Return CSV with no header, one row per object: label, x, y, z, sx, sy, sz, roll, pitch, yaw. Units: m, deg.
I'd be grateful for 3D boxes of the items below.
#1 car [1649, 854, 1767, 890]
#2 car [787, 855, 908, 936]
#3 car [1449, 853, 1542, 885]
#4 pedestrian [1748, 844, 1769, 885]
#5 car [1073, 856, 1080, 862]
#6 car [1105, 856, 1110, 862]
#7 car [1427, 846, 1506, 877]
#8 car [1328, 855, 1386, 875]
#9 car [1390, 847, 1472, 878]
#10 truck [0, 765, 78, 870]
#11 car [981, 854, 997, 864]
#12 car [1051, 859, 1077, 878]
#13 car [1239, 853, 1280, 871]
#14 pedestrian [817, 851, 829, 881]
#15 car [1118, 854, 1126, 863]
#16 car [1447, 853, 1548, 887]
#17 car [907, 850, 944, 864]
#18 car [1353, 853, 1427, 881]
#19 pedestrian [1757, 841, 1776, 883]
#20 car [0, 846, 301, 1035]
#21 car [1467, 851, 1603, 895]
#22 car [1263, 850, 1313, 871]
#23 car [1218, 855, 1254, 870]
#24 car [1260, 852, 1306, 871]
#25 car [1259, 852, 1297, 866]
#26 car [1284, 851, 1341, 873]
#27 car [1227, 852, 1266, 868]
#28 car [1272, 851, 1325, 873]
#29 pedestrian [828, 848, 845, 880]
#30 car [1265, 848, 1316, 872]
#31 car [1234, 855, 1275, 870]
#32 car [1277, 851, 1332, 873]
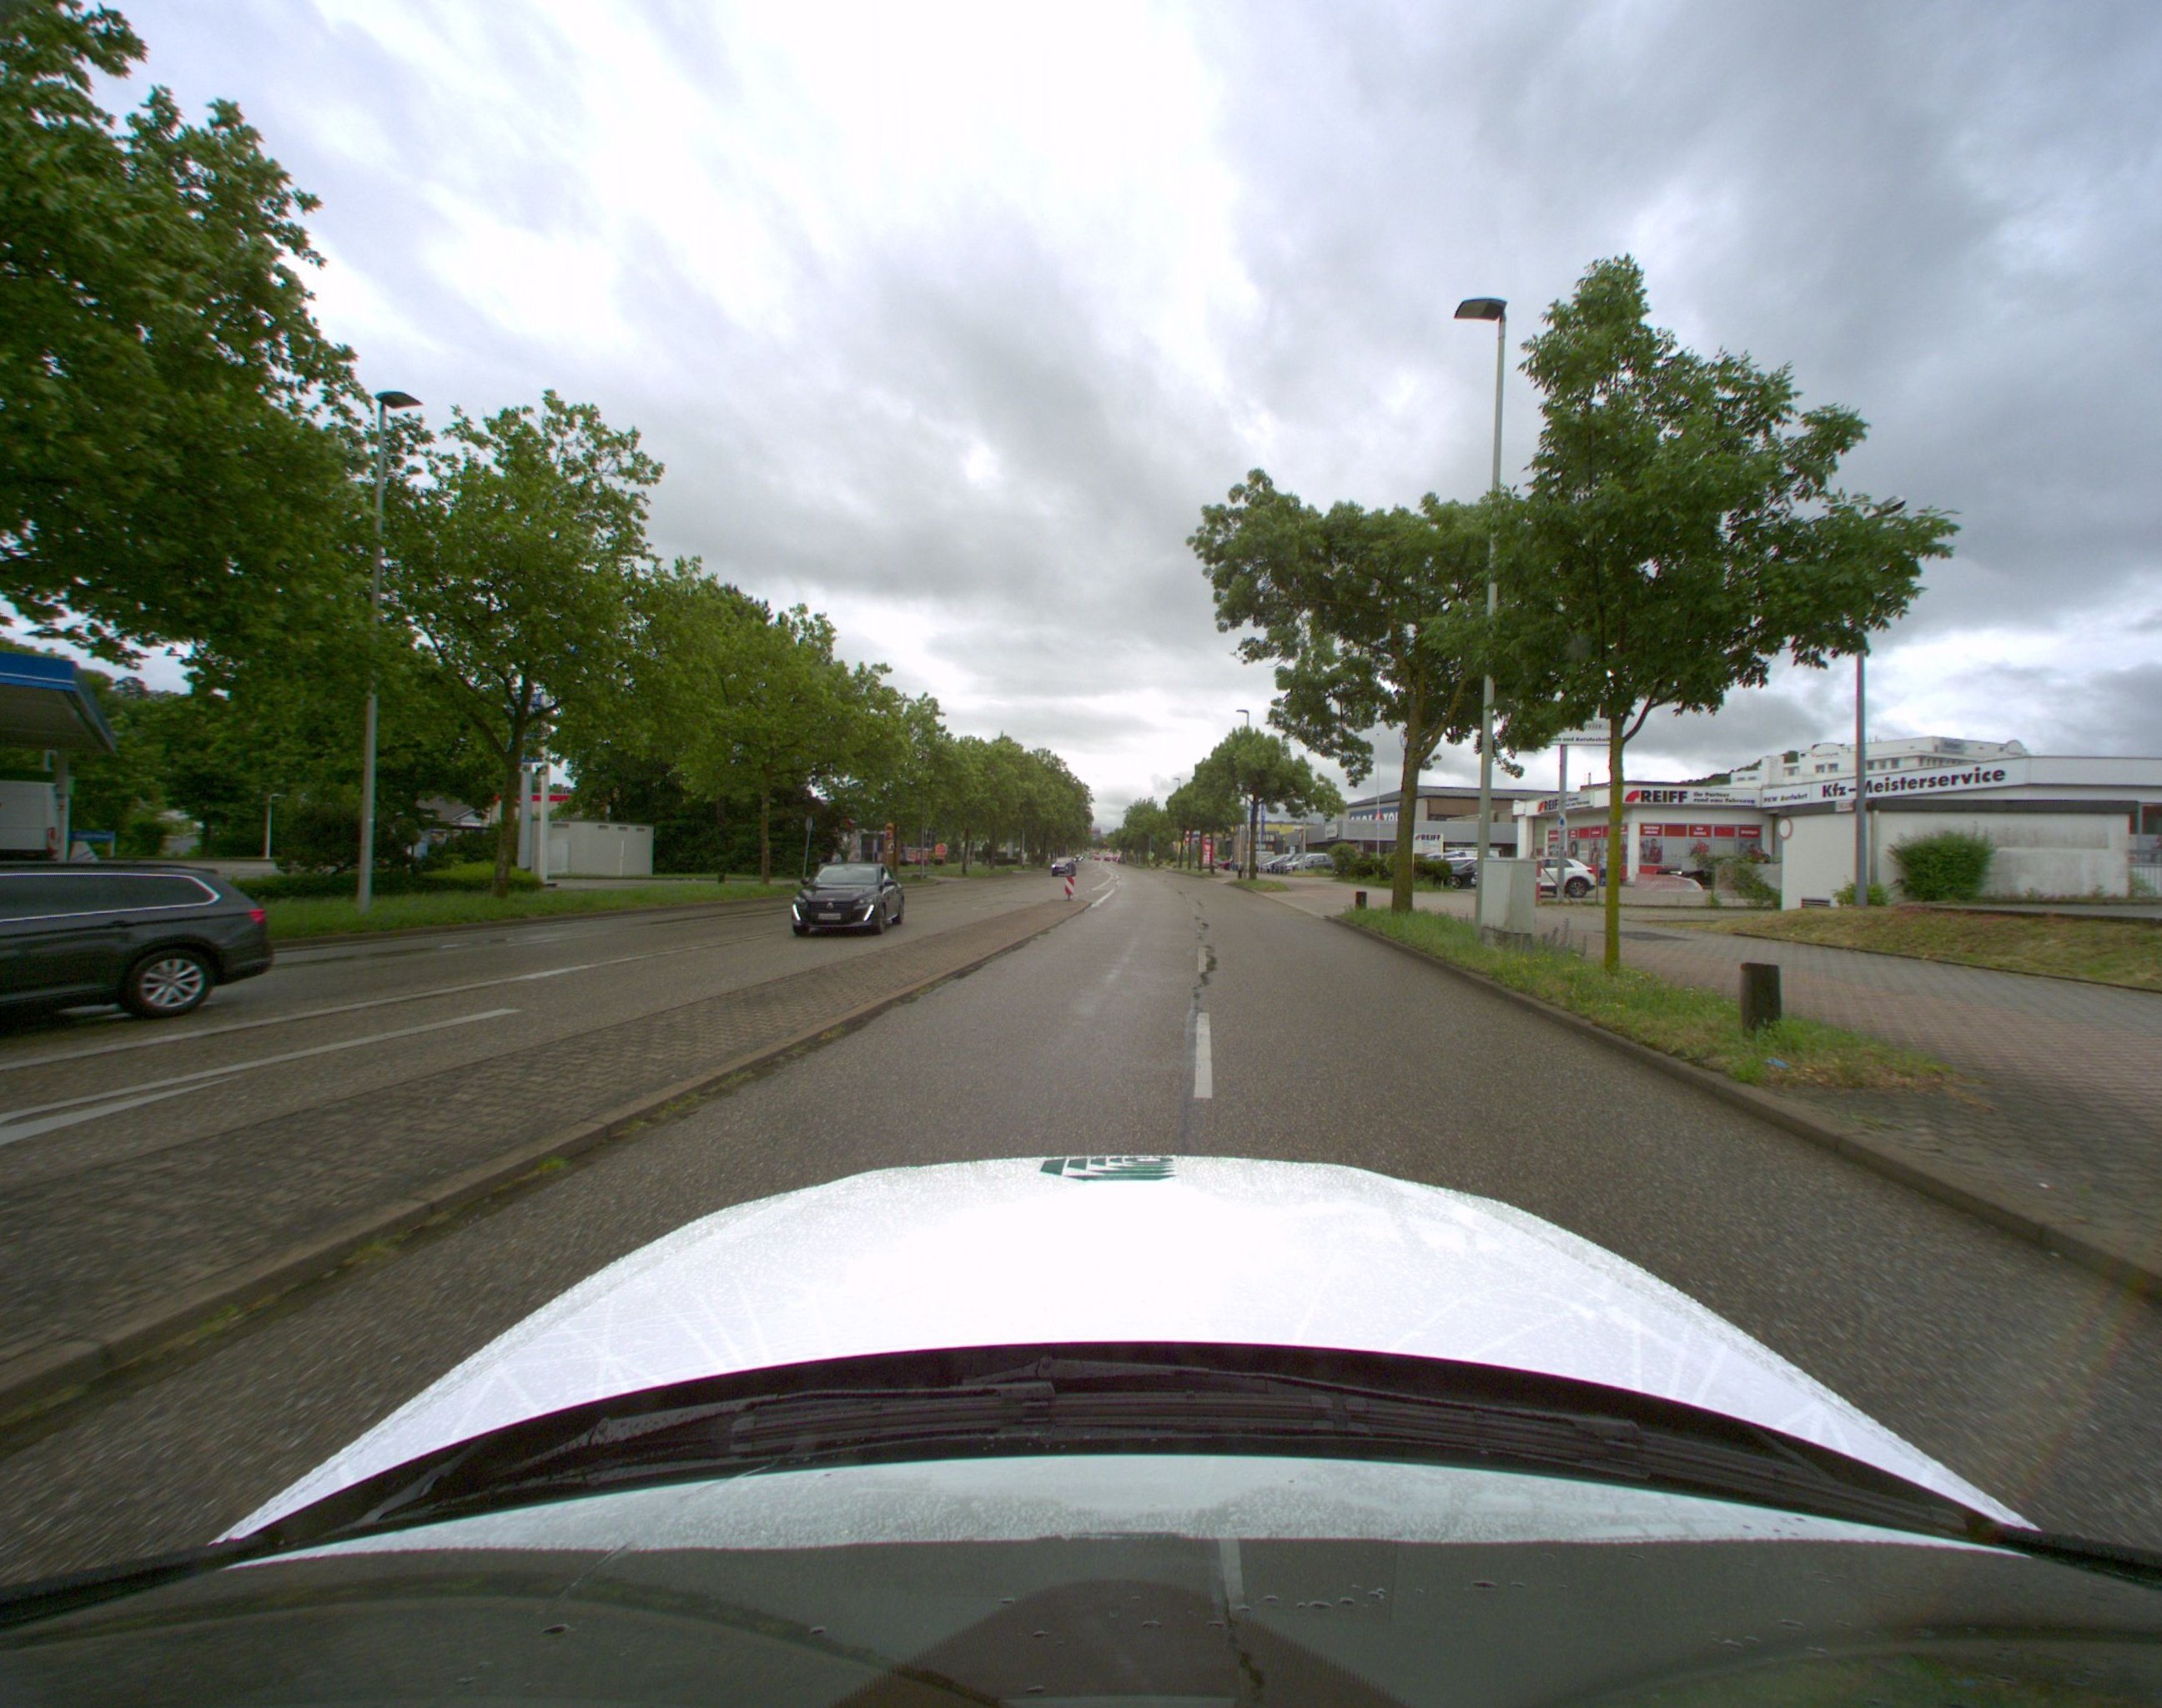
car,27.683,0.780,36.043,3.830,1.479,1.789,1,-1,3
car,-4.781,0.781,17.208,1.639,1.508,3.888,0,0,-3
car,20.579,0.733,40.599,3.897,1.523,1.740,0,0,16
pedestrian,28.330,0.431,34.045,0.439,1.705,0.512,1,-1,-23
car,-1.109,1.416,220.510,1.797,1.463,3.847,0,0,2
car,8.491,1.593,259.883,1.738,2.014,4.002,0,0,3
car,26.947,0.509,57.055,4.636,2.149,1.965,0,0,1
car,20.298,0.785,59.986,3.663,1.464,1.795,0,0,3
car,19.585,0.446,45.543,4.104,1.662,1.832,0,1,25
truck,-30.153,-0.910,19.351,2.128,2.675,7.922,0,0,40
car,-12.966,0.709,114.727,1.817,1.486,3.939,0,0,0
car,-1.394,1.197,68.511,1.803,1.562,4.603,0,-1,4
car,18.366,0.829,83.997,3.828,1.566,1.666,-3,-1,-1
pedestrian,-14.394,0.651,45.441,0.509,1.683,0.541,0,0,3
car,9.389,1.085,186.560,1.738,2.014,4.002,0,0,2
car,19.375,0.728,38.064,3.956,1.522,1.725,0,0,16
car,-15.203,0.298,79.644,3.156,1.155,1.294,3,0,9
car,18.388,0.769,48.410,4.019,1.597,1.995,0,-1,22
pedestrian,28.967,0.345,34.413,0.433,1.785,0.518,0,-1,19
car,-9.649,0.700,6.457,1.982,1.508,4.742,0,0,9
car,17.123,0.694,30.894,4.148,1.552,1.895,0,0,10
car,18.597,0.601,73.193,3.974,1.587,1.812,-4,0,0
car,18.028,0.947,94.654,3.827,1.604,1.796,-2,0,1
car,18.766,0.678,75.839,3.970,1.786,1.814,0,0,3
car,22.765,0.582,94.229,4.089,1.621,1.883,-1,0,5
car,17.999,0.640,63.402,3.819,1.461,1.828,-3,0,1
car,18.170,0.683,89.640,3.972,1.647,1.846,-1,0,1
car,18.233,0.695,68.294,3.970,1.585,1.814,-4,-1,3
pedestrian,-13.649,0.561,45.474,0.658,1.767,0.586,1,0,25
car,18.077,0.553,70.416,3.970,1.786,1.814,-4,-1,3
car,18.269,0.896,85.898,3.972,1.539,1.800,0,0,1
car,18.087,0.642,66.042,3.970,1.543,1.814,-4,-1,3
